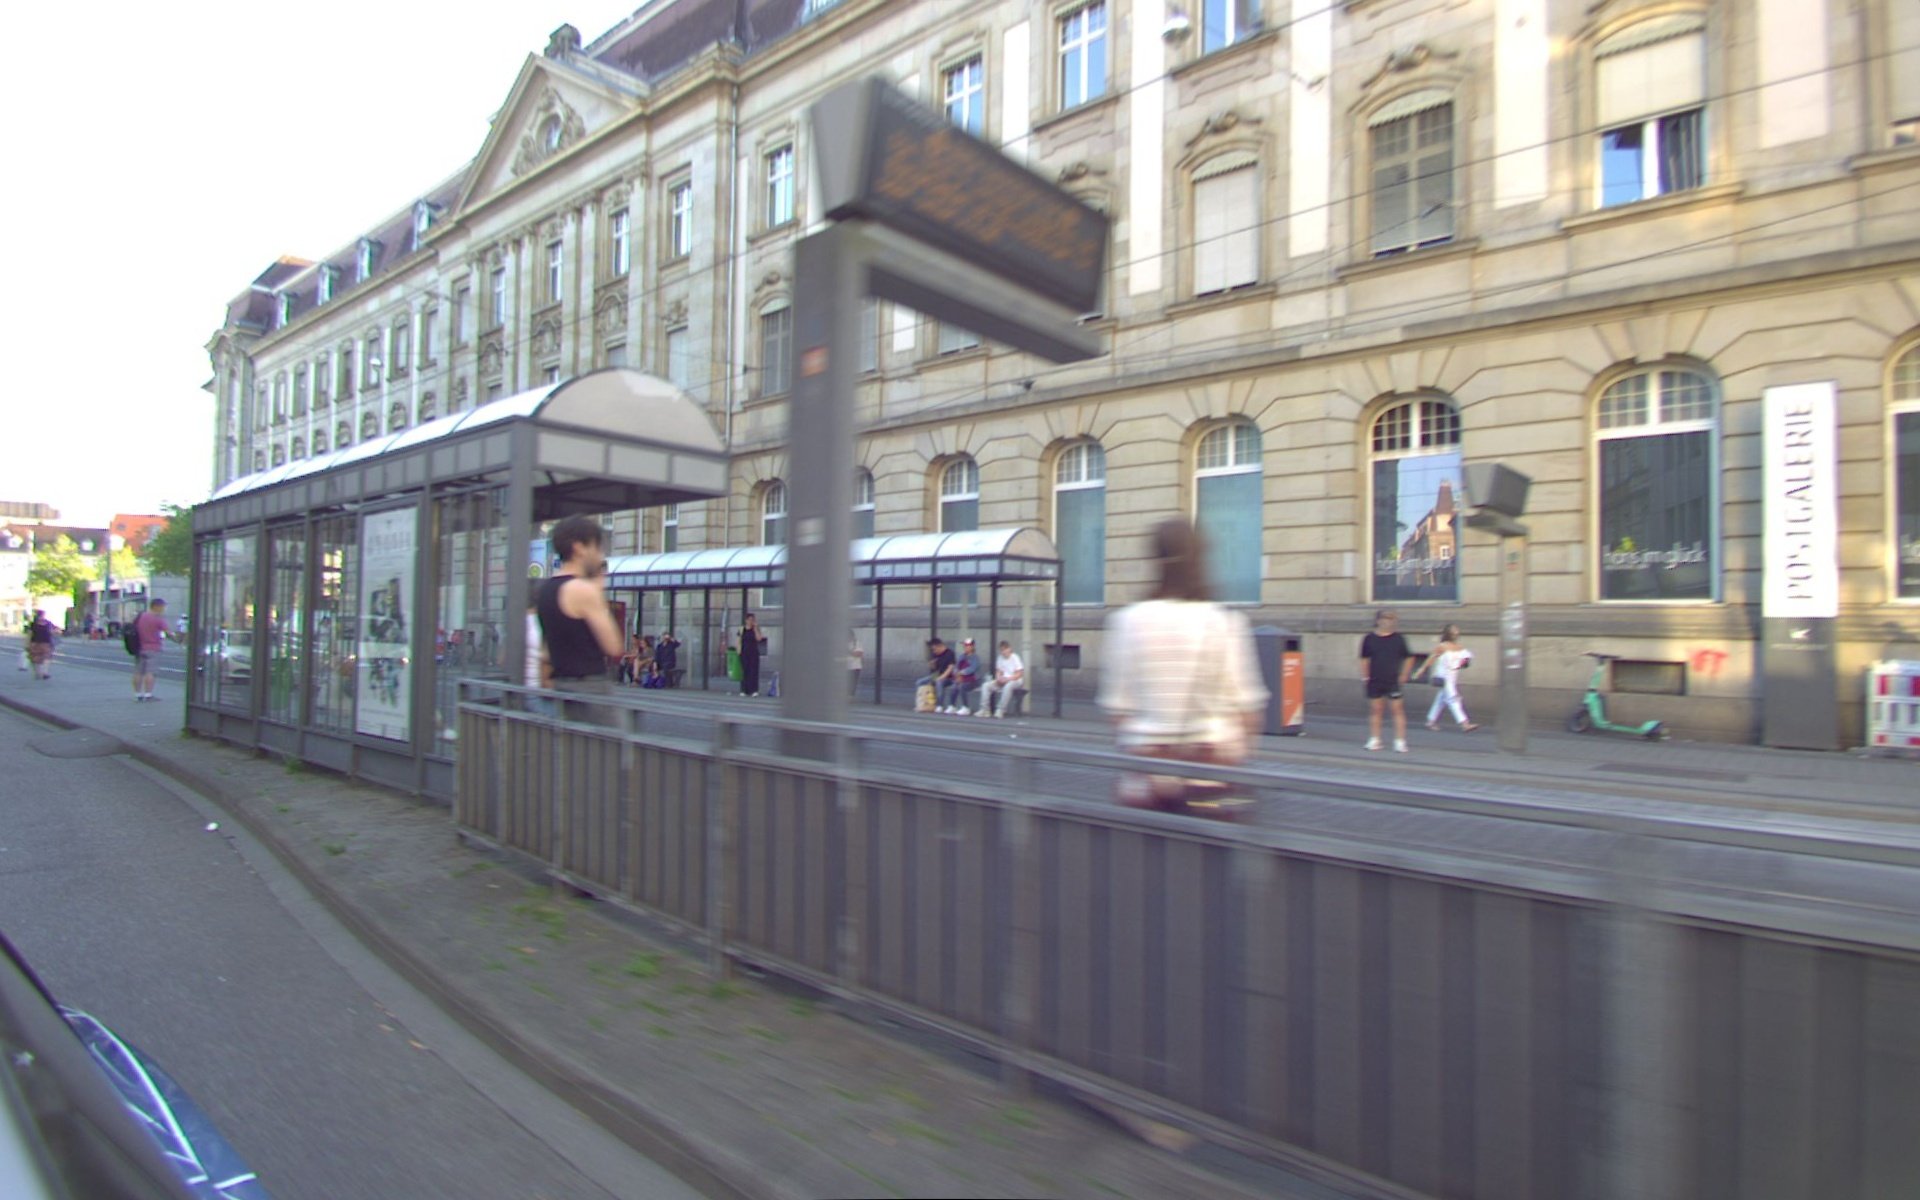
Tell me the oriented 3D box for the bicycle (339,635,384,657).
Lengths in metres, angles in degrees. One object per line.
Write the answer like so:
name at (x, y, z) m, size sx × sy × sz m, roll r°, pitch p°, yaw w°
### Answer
bicycle at (-25.296, 1.933, 42.781) m, size 0.451 × 0.880 × 1.557 m, roll -1°, pitch -1°, yaw 45°

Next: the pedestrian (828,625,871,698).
pedestrian at (-2.095, 1.148, 19.153) m, size 0.638 × 1.337 × 0.512 m, roll 0°, pitch -2°, yaw 44°

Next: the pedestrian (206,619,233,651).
pedestrian at (-36.425, 1.714, 49.792) m, size 0.766 × 1.544 × 0.738 m, roll 0°, pitch -2°, yaw -4°

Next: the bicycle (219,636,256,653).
bicycle at (-38.463, 2.368, 53.899) m, size 0.451 × 0.880 × 1.557 m, roll -1°, pitch -1°, yaw 45°

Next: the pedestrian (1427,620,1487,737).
pedestrian at (7.162, 1.098, 14.588) m, size 0.630 × 1.626 × 0.692 m, roll -1°, pitch -1°, yaw 39°

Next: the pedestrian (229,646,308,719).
pedestrian at (-9.378, 1.104, 13.748) m, size 0.787 × 0.946 × 0.695 m, roll 1°, pitch -2°, yaw -27°

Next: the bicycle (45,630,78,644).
bicycle at (-78.050, 3.236, 87.931) m, size 0.692 × 1.168 × 2.104 m, roll -1°, pitch -2°, yaw 41°

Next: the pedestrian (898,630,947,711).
pedestrian at (-0.637, 1.193, 17.273) m, size 0.638 × 1.337 × 0.512 m, roll 0°, pitch -2°, yaw 44°

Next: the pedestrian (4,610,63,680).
pedestrian at (-20.730, 0.997, 22.646) m, size 0.900 × 1.512 × 0.837 m, roll -1°, pitch -2°, yaw 40°

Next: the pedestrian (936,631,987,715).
pedestrian at (0.026, 1.188, 16.744) m, size 0.638 × 1.337 × 0.512 m, roll 0°, pitch -2°, yaw 44°

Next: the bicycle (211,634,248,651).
bicycle at (-39.167, 2.290, 54.274) m, size 0.451 × 0.880 × 1.557 m, roll -1°, pitch -1°, yaw 45°

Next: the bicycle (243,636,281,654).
bicycle at (-35.415, 2.263, 51.347) m, size 0.451 × 0.880 × 1.557 m, roll -1°, pitch -1°, yaw 45°

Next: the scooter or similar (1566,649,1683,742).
scooter or similar at (9.205, 1.292, 14.035) m, size 1.293 × 1.191 × 0.481 m, roll -1°, pitch -1°, yaw 42°

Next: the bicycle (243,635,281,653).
bicycle at (-35.827, 2.270, 51.972) m, size 0.451 × 0.880 × 1.557 m, roll -1°, pitch -1°, yaw 45°

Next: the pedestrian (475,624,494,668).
pedestrian at (-15.893, 1.522, 33.831) m, size 0.433 × 1.451 × 0.573 m, roll 0°, pitch -1°, yaw -13°

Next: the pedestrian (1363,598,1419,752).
pedestrian at (5.166, 0.885, 12.124) m, size 0.559 × 1.790 × 0.464 m, roll -1°, pitch -2°, yaw 30°

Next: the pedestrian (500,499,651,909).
pedestrian at (-1.802, 0.454, 4.744) m, size 0.593 × 1.780 × 0.408 m, roll -1°, pitch -1°, yaw 38°

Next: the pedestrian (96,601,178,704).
pedestrian at (-13.520, 0.848, 16.658) m, size 0.677 × 1.650 × 0.863 m, roll 0°, pitch -2°, yaw -9°

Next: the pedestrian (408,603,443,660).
pedestrian at (-16.492, 0.965, 31.236) m, size 0.815 × 1.725 × 0.685 m, roll -1°, pitch -2°, yaw 42°

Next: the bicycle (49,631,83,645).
bicycle at (-76.796, 3.253, 86.902) m, size 0.692 × 1.168 × 2.104 m, roll -1°, pitch -2°, yaw 41°

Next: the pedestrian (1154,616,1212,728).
pedestrian at (3.242, 1.028, 14.704) m, size 0.638 × 1.581 × 0.512 m, roll 0°, pitch -2°, yaw 44°

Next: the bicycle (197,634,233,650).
bicycle at (-40.940, 2.302, 55.607) m, size 0.451 × 0.880 × 1.557 m, roll -1°, pitch -1°, yaw 45°

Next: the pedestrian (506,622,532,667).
pedestrian at (-14.899, 1.485, 34.180) m, size 0.589 × 1.501 × 0.538 m, roll 0°, pitch -1°, yaw 17°

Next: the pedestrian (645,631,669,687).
pedestrian at (-6.773, 1.309, 22.641) m, size 0.360 × 1.209 × 0.430 m, roll 1°, pitch -1°, yaw -44°

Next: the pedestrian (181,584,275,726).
pedestrian at (-9.106, 0.672, 12.608) m, size 0.667 × 1.704 × 0.638 m, roll 1°, pitch -1°, yaw -1°

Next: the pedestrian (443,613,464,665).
pedestrian at (-16.157, 1.233, 32.284) m, size 0.434 × 1.617 × 0.572 m, roll 1°, pitch -1°, yaw -45°

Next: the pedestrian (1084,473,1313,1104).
pedestrian at (0.700, 0.494, 2.979) m, size 0.549 × 1.654 × 0.382 m, roll -1°, pitch -1°, yaw 38°

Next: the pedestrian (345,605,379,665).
pedestrian at (-18.596, 1.076, 31.458) m, size 0.814 × 1.827 × 0.685 m, roll -1°, pitch -2°, yaw 42°

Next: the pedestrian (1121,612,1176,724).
pedestrian at (2.882, 1.018, 15.466) m, size 0.638 × 1.658 × 0.512 m, roll 0°, pitch -2°, yaw 44°

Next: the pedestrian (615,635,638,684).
pedestrian at (-7.787, 1.388, 23.656) m, size 0.360 × 1.111 × 0.430 m, roll 1°, pitch -1°, yaw -44°

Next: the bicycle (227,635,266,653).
bicycle at (-36.807, 2.271, 52.221) m, size 0.451 × 0.880 × 1.557 m, roll -1°, pitch -1°, yaw 45°

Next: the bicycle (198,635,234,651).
bicycle at (-41.466, 2.394, 56.425) m, size 0.451 × 0.880 × 1.557 m, roll -1°, pitch -1°, yaw 45°

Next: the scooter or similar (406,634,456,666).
scooter or similar at (-18.950, 1.776, 36.249) m, size 0.451 × 1.076 × 1.529 m, roll -1°, pitch -1°, yaw 45°

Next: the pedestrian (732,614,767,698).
pedestrian at (-4.246, 1.119, 20.425) m, size 0.510 × 1.663 × 0.640 m, roll 2°, pitch -1°, yaw -28°

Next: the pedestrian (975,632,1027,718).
pedestrian at (0.659, 1.184, 16.229) m, size 0.638 × 1.337 × 0.512 m, roll 0°, pitch -2°, yaw 44°

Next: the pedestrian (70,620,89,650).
pedestrian at (-51.912, 2.040, 59.663) m, size 0.593 × 1.750 × 0.643 m, roll -1°, pitch -4°, yaw 31°

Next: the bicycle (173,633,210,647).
bicycle at (-49.324, 2.544, 64.981) m, size 0.634 × 0.875 × 1.817 m, roll -1°, pitch -1°, yaw 38°

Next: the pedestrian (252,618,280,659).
pedestrian at (-27.173, 1.500, 39.609) m, size 0.651 × 1.574 × 0.681 m, roll 1°, pitch -2°, yaw -10°

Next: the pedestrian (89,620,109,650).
pedestrian at (-51.153, 2.093, 60.147) m, size 0.679 × 1.750 × 0.669 m, roll -1°, pitch -4°, yaw 34°
